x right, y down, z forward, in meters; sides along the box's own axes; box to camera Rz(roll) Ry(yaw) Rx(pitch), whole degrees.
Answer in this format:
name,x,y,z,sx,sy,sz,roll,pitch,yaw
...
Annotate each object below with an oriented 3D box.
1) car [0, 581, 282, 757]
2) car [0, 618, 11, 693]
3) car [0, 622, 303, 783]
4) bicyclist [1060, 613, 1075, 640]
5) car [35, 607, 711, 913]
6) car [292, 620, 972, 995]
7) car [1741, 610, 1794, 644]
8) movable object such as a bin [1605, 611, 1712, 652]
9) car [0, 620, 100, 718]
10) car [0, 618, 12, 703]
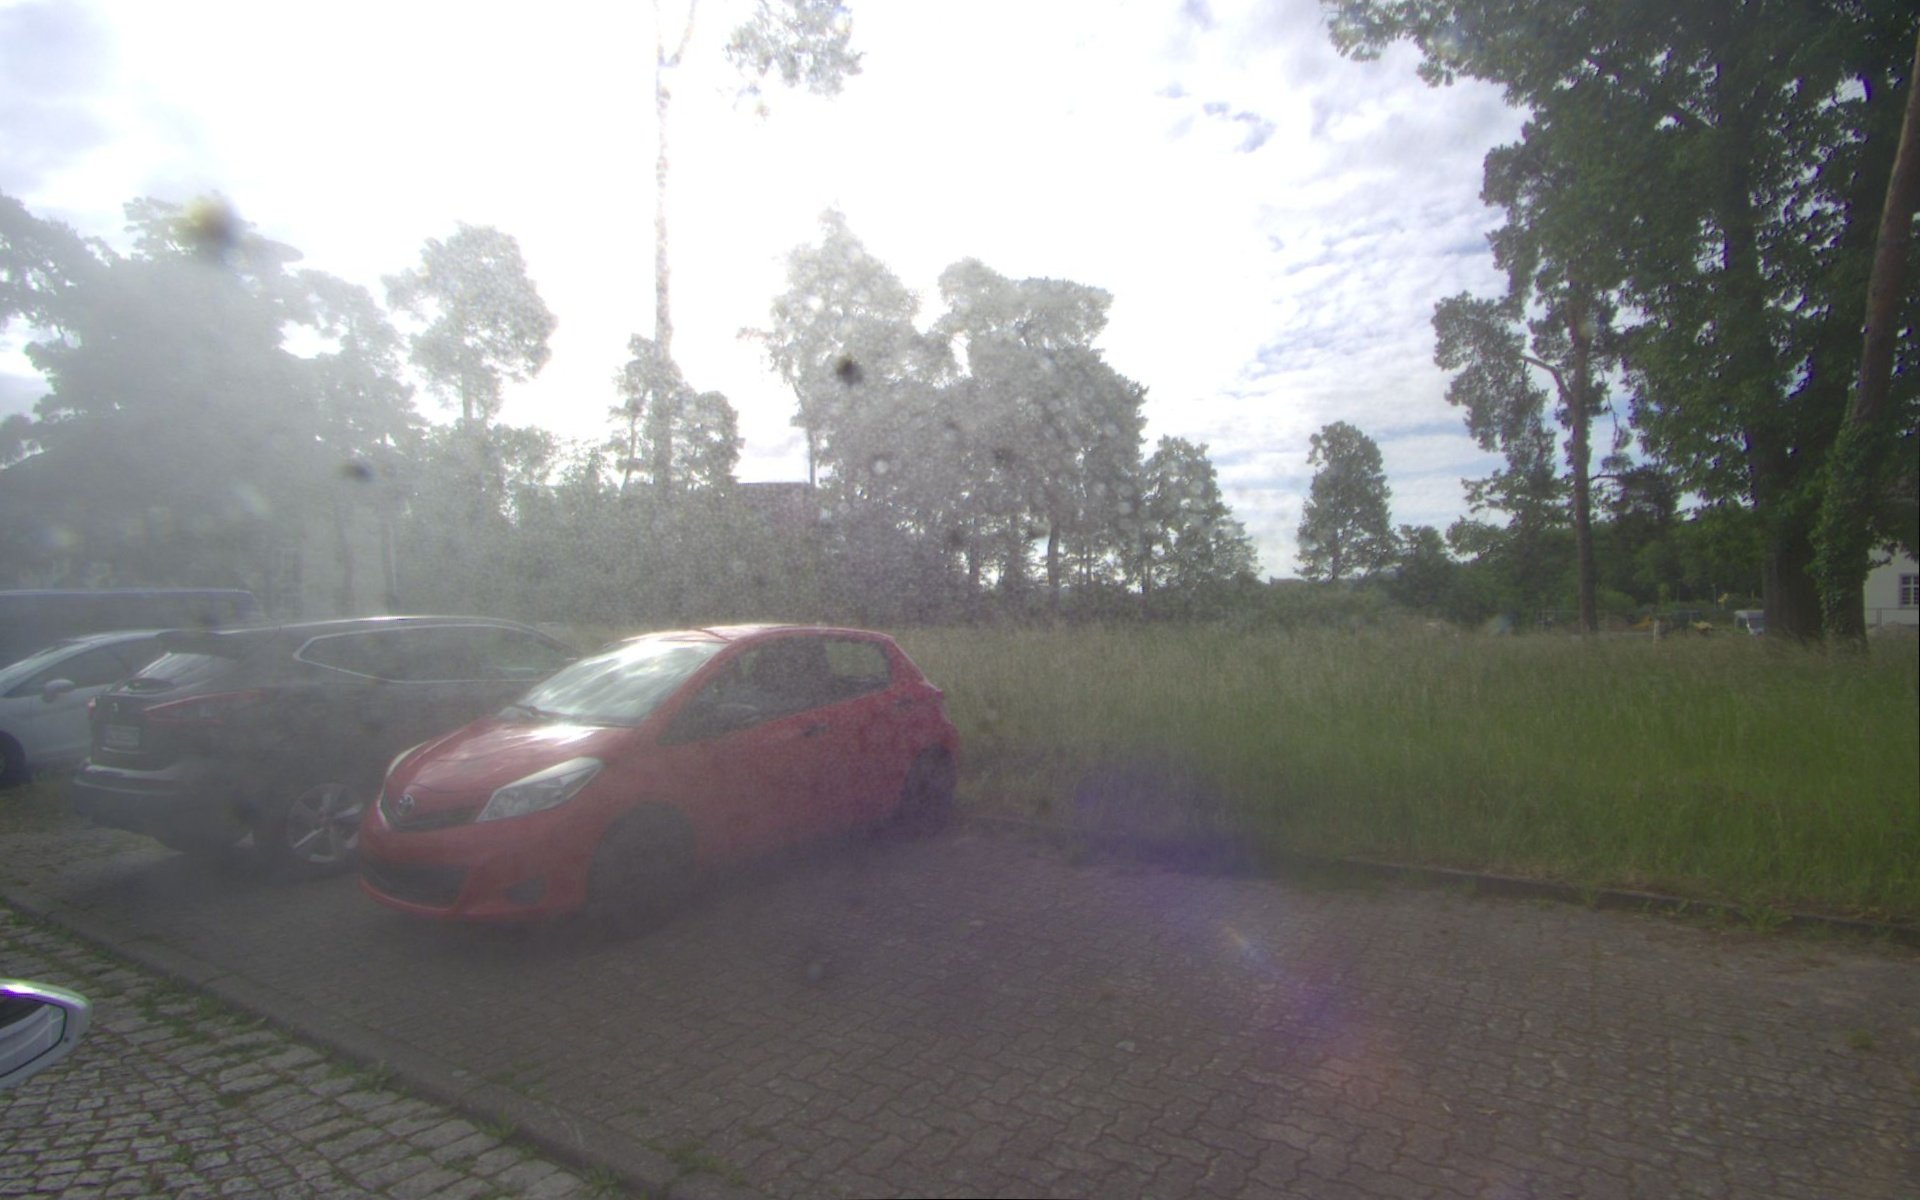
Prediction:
name,x,y,z,sx,sy,sz,roll,pitch,yaw
car,-11.388,0.791,12.255,1.903,1.980,4.746,-1,0,31
car,-20.293,1.107,18.544,1.501,1.469,3.665,-1,0,31
car,-9.377,1.012,10.654,1.591,1.469,3.666,-1,0,30
bicyclist,6.906,1.691,64.332,0.762,1.717,0.723,0,-1,34
car,-3.946,0.875,7.480,1.725,1.573,4.022,-1,0,30
car,-1.659,0.908,6.231,1.726,1.479,3.783,-1,0,33
car,58.314,1.987,72.362,1.886,2.378,4.584,0,-2,24
movable object such as a bin,47.304,2.135,68.030,2.137,2.689,5.970,1,-2,-16
car,-15.676,1.084,15.209,1.501,1.469,3.665,-1,0,31
car,-18.199,1.076,16.346,1.501,1.469,3.665,-1,0,31
